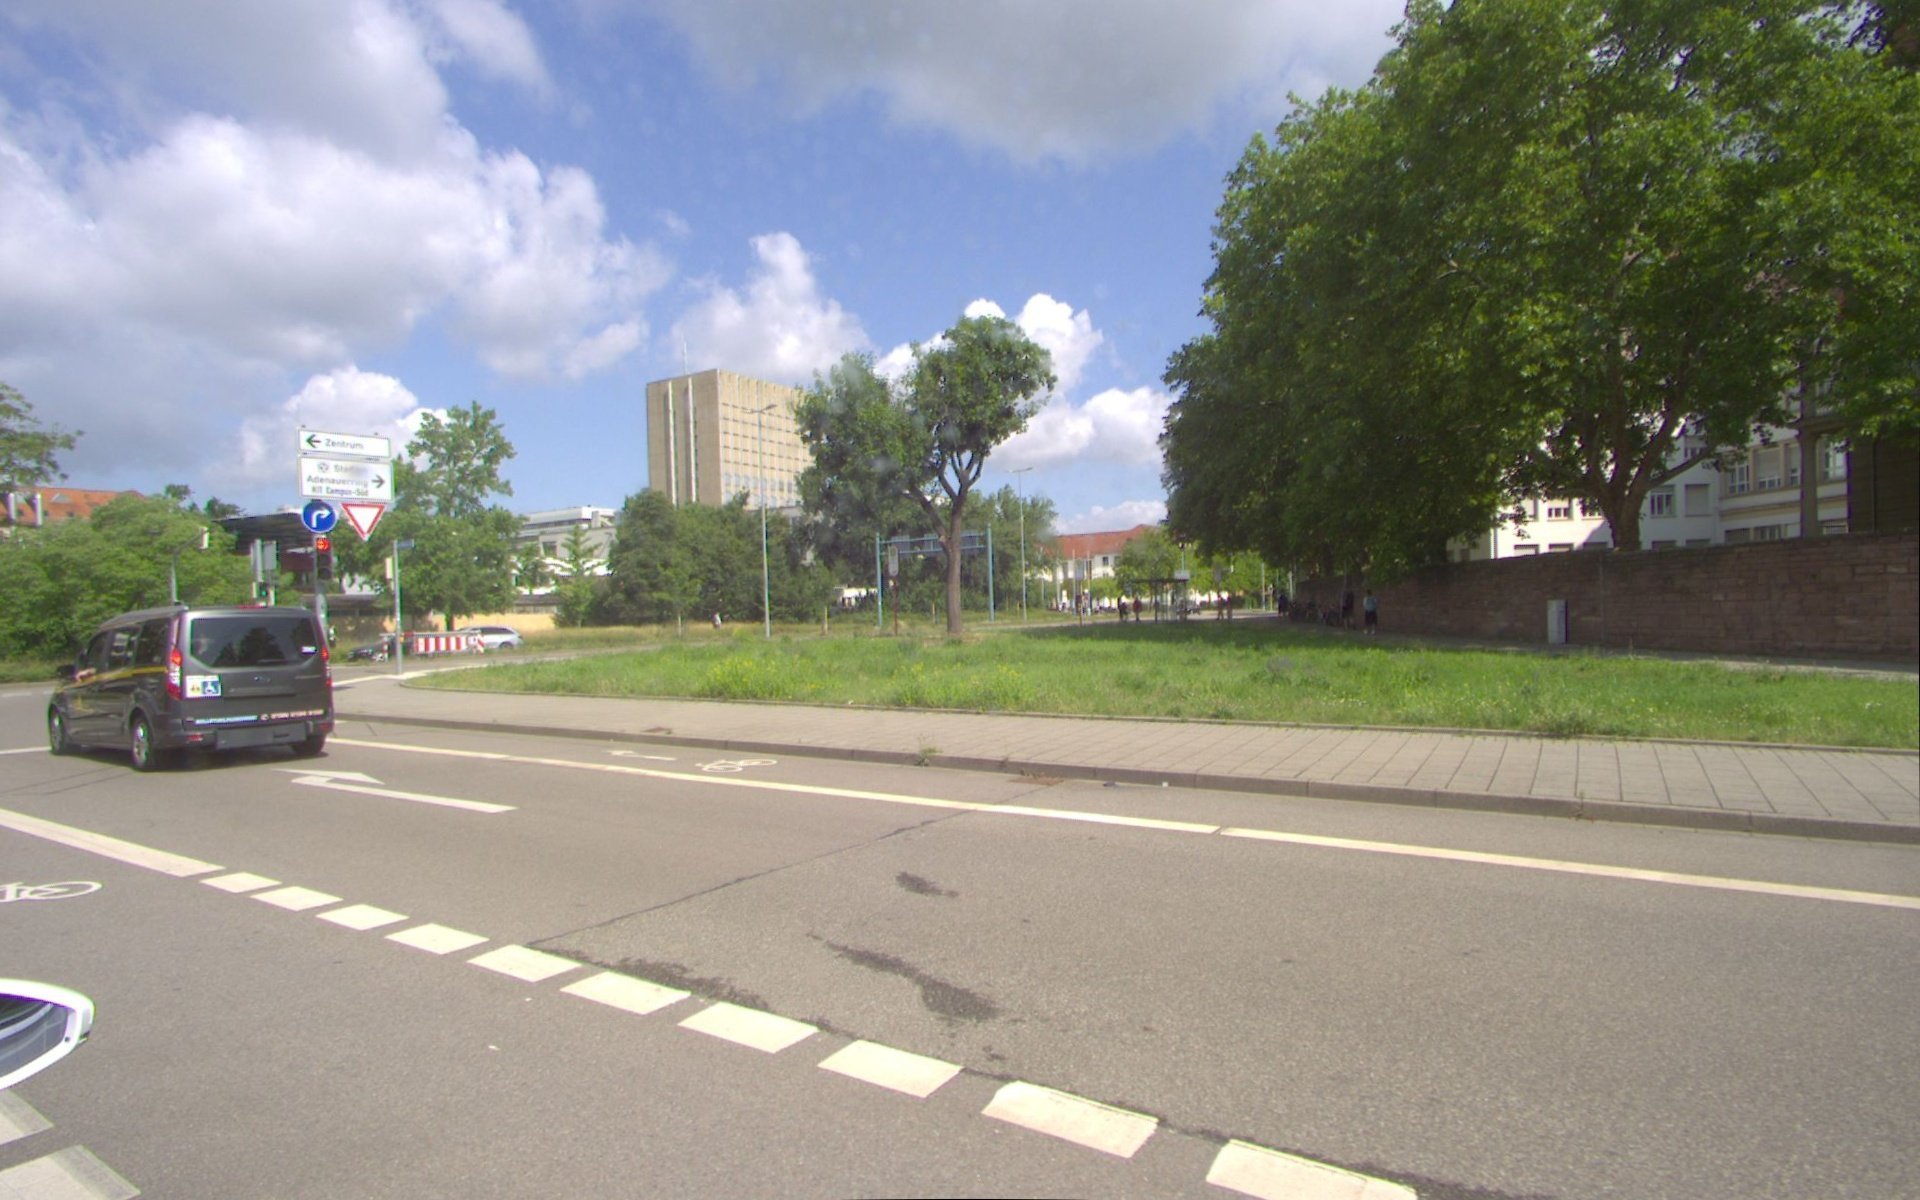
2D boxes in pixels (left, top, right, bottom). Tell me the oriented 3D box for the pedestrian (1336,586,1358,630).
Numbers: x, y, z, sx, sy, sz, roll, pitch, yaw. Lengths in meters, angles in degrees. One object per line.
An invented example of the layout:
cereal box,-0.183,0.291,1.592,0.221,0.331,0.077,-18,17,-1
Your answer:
pedestrian,15.589,0.316,40.373,0.651,1.746,0.742,-1,1,9

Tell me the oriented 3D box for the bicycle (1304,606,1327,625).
bicycle,17.105,0.754,48.217,0.955,0.860,0.482,-1,1,11

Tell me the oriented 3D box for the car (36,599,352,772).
car,-9.722,0.967,12.595,4.609,1.808,1.844,-2,-1,35

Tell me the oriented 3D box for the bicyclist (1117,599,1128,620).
bicyclist,11.419,0.680,70.424,0.552,1.433,0.604,-1,1,28

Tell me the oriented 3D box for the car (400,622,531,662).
car,-21.685,1.820,44.065,2.037,1.460,4.746,-5,-2,37

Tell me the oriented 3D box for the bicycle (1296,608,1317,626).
bicycle,17.583,0.856,50.806,0.955,0.860,0.482,-1,1,11

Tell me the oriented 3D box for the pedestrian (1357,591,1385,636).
pedestrian,14.792,0.480,36.064,0.712,1.554,0.724,-2,0,7

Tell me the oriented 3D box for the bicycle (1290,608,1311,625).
bicycle,17.926,0.861,52.690,0.955,0.860,0.482,-1,1,11

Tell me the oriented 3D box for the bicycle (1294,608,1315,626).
bicycle,17.670,0.877,51.355,0.955,0.860,0.482,-1,1,11

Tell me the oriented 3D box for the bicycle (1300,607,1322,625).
bicycle,17.361,0.803,49.493,0.955,0.860,0.482,-1,1,11

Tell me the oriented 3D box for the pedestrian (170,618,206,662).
pedestrian,-33.802,1.754,43.867,1.161,1.881,0.697,-3,0,22

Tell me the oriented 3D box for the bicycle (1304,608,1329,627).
bicycle,16.870,0.845,47.422,1.054,0.860,0.499,-2,0,11

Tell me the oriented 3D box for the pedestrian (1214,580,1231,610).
pedestrian,16.471,-0.322,62.810,0.739,1.803,0.766,-2,0,33

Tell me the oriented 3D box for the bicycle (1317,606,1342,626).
bicycle,16.365,0.715,44.404,0.955,0.860,0.482,-1,1,11

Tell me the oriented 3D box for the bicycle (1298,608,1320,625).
bicycle,17.476,0.829,50.163,0.955,0.860,0.482,-1,1,11

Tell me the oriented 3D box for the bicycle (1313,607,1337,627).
bicycle,16.421,0.763,45.087,0.955,0.860,0.482,-1,1,11

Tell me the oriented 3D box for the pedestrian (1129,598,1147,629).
pedestrian,10.656,0.799,59.901,0.738,1.803,0.962,-2,0,27

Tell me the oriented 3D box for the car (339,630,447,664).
car,-27.442,2.247,48.570,1.973,1.395,4.135,-1,0,34

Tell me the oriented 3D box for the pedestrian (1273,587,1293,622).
pedestrian,17.069,0.220,52.943,0.870,1.804,0.770,-1,1,9

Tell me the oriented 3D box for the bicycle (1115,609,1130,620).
bicycle,11.432,1.035,70.452,0.541,0.707,1.584,-1,0,27

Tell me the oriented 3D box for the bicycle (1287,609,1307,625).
bicycle,18.253,0.919,54.216,0.955,0.860,0.482,-1,1,11

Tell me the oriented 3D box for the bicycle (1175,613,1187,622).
bicycle,17.791,1.404,80.508,0.541,0.707,1.584,-1,0,28

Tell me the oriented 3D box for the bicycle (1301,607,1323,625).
bicycle,17.200,0.781,48.950,0.955,0.860,0.482,-1,1,11

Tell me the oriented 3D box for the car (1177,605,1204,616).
car,29.082,1.277,126.275,1.774,1.290,3.973,0,0,37

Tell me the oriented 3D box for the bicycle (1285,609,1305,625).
bicycle,18.335,0.941,54.789,0.955,0.860,0.482,-1,1,11

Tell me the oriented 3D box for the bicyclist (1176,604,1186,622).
bicyclist,17.754,1.049,80.442,0.552,1.433,0.604,-1,1,28

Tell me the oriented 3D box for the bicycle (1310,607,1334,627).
bicycle,16.531,0.766,45.715,0.955,0.860,0.482,-1,1,11
